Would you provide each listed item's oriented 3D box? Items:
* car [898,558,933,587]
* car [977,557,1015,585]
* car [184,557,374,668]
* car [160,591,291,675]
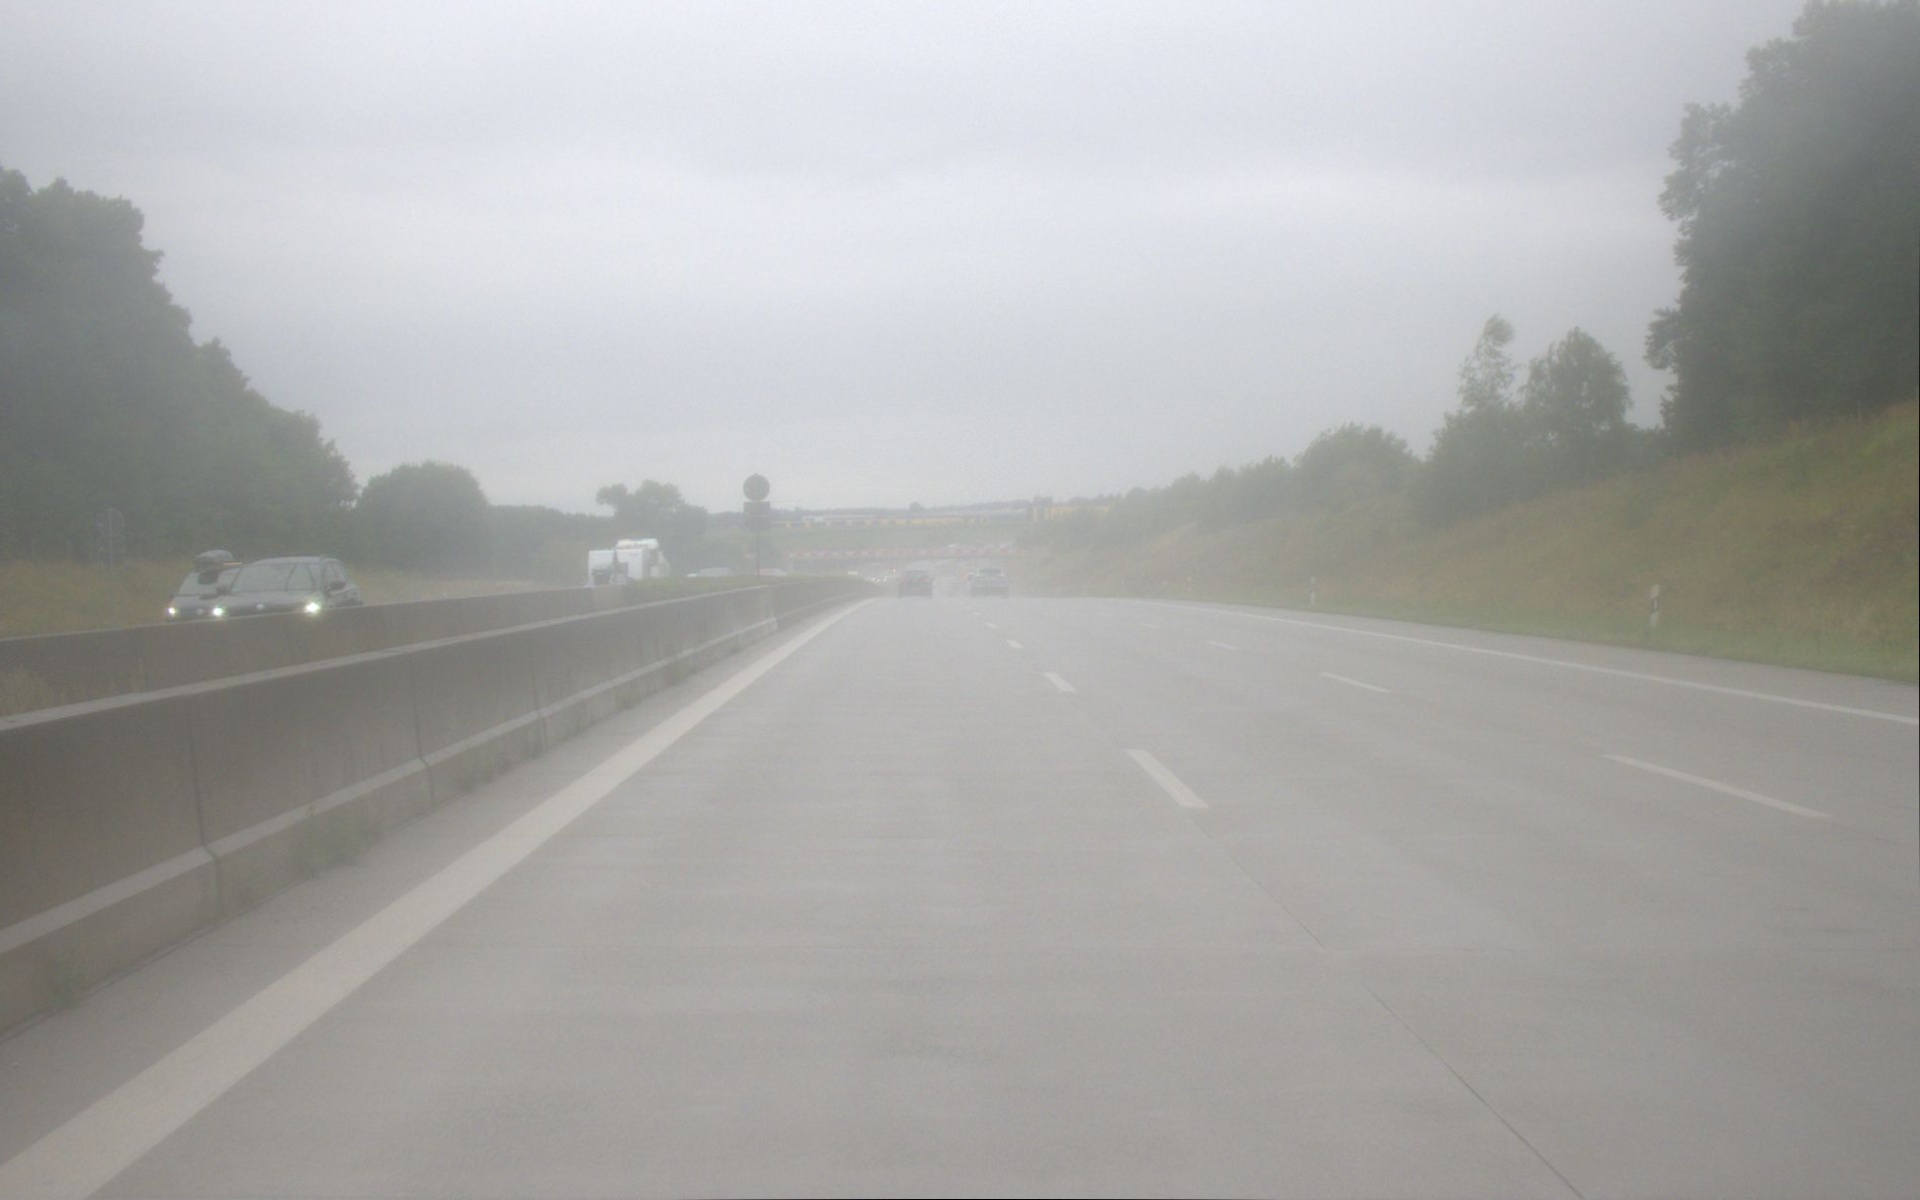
[{"bbox_3d":[-2.227,-1.393,173.228,1.729,1.326,4.430,0,2,-1],"label":"car"},{"bbox_3d":[1.827,-1.508,176.306,1.847,1.326,4.430,0,2,-1],"label":"car"},{"bbox_3d":[-10.569,0.154,53.685,1.968,1.604,4.852,-1,1,0],"label":"car"},{"bbox_3d":[-16.872,0.732,79.167,2.060,1.796,4.852,-1,1,-1],"label":"car"}]
